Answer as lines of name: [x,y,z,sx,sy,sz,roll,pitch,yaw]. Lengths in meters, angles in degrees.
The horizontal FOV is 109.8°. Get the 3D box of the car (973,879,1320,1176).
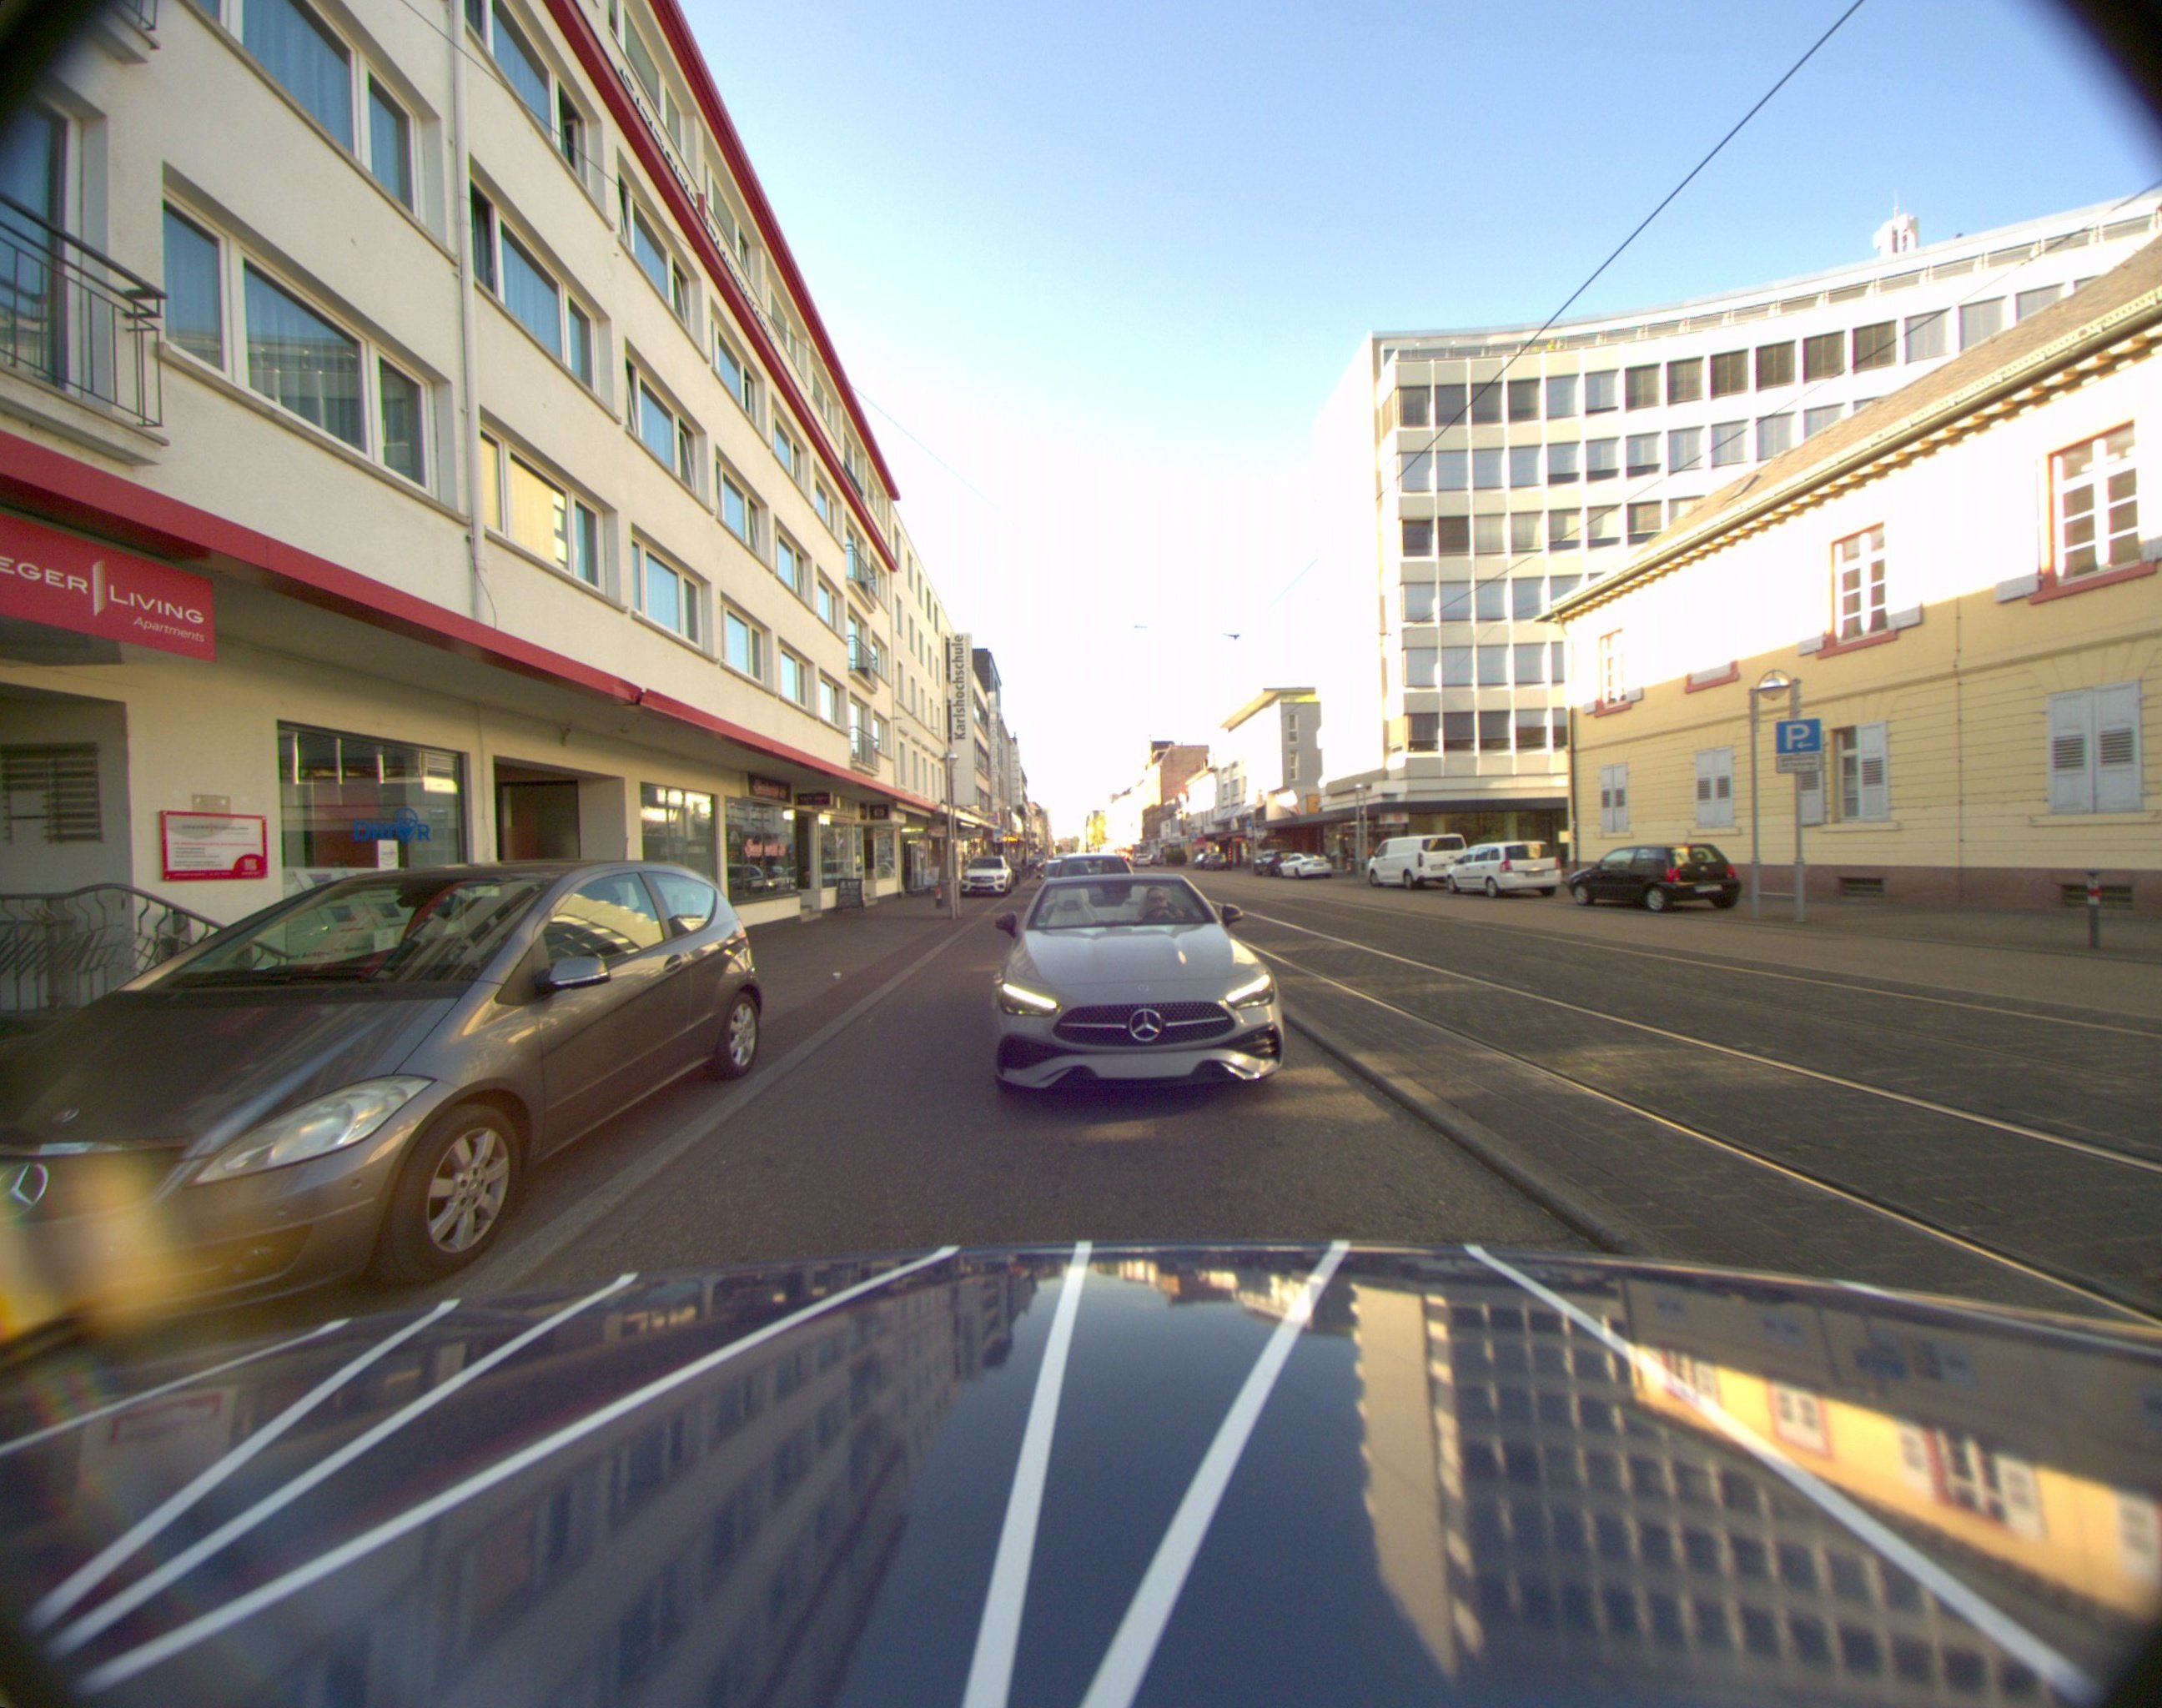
car: [0.236,1.011,6.184,1.884,1.375,3.998,-2,1,-4]

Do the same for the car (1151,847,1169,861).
car: [11.550,-0.043,111.327,1.999,2.002,3.998,-2,1,-2]

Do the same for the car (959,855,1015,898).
car: [-3.850,0.892,31.721,1.999,1.620,3.998,-1,0,-4]

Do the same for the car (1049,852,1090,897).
car: [-0.509,0.811,31.866,1.573,1.670,3.688,-2,1,-1]

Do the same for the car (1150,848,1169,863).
car: [10.398,0.203,100.875,1.998,2.002,4.000,-1,0,1]

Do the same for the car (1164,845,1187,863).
car: [11.199,0.020,90.359,2.200,2.030,3.999,-1,0,-1]

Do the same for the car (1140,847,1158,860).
car: [10.676,-0.055,119.668,1.999,2.002,5.320,-1,0,-2]

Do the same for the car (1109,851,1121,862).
car: [6.708,0.462,151.032,1.999,2.002,3.998,-2,1,-2]

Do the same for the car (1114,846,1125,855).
car: [8.991,-0.848,176.585,2.148,1.850,3.998,-2,1,-2]

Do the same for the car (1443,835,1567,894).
car: [12.767,0.271,23.174,1.641,1.600,4.005,-2,1,3]

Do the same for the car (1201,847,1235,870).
car: [11.812,0.327,65.547,1.999,1.849,3.998,-2,1,-2]

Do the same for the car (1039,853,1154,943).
car: [0.173,0.787,15.540,1.927,1.533,3.998,-2,0,-4]

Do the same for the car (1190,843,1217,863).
car: [11.934,-0.076,73.956,1.789,1.870,3.999,-1,0,-2]

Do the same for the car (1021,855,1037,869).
car: [-6.190,0.939,90.823,1.714,1.430,3.756,-2,1,-1]

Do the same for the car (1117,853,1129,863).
car: [7.129,0.609,128.465,1.964,1.499,4.000,-2,1,4]

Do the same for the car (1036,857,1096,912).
car: [-0.462,0.871,23.414,1.648,1.506,3.844,-2,0,-1]

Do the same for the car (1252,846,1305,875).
car: [12.326,0.367,47.687,1.999,1.694,4.107,-3,1,-2]

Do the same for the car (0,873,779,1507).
car: [-3.204,0.945,3.955,1.683,1.537,3.999,-2,0,-1]

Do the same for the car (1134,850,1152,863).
car: [7.485,0.287,92.081,1.760,1.587,3.999,-1,0,-2]

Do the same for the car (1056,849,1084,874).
car: [-0.862,0.549,58.271,1.999,1.793,3.999,-2,1,-1]

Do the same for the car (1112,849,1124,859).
car: [6.996,0.019,142.939,1.914,1.883,3.855,-2,1,-2]

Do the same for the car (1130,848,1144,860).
car: [9.877,-0.043,134.354,1.999,2.002,3.999,-1,0,-1]

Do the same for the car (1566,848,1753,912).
car: [12.820,0.515,17.083,1.688,1.246,3.212,-2,1,-1]

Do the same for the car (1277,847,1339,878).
car: [12.547,0.428,42.254,1.999,1.521,4.373,-2,1,-1]

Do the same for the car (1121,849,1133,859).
car: [9.540,-0.064,157.317,1.999,2.002,3.999,-1,0,-2]

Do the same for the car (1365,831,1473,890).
car: [12.679,0.235,28.871,2.040,2.002,4.621,-1,0,1]
